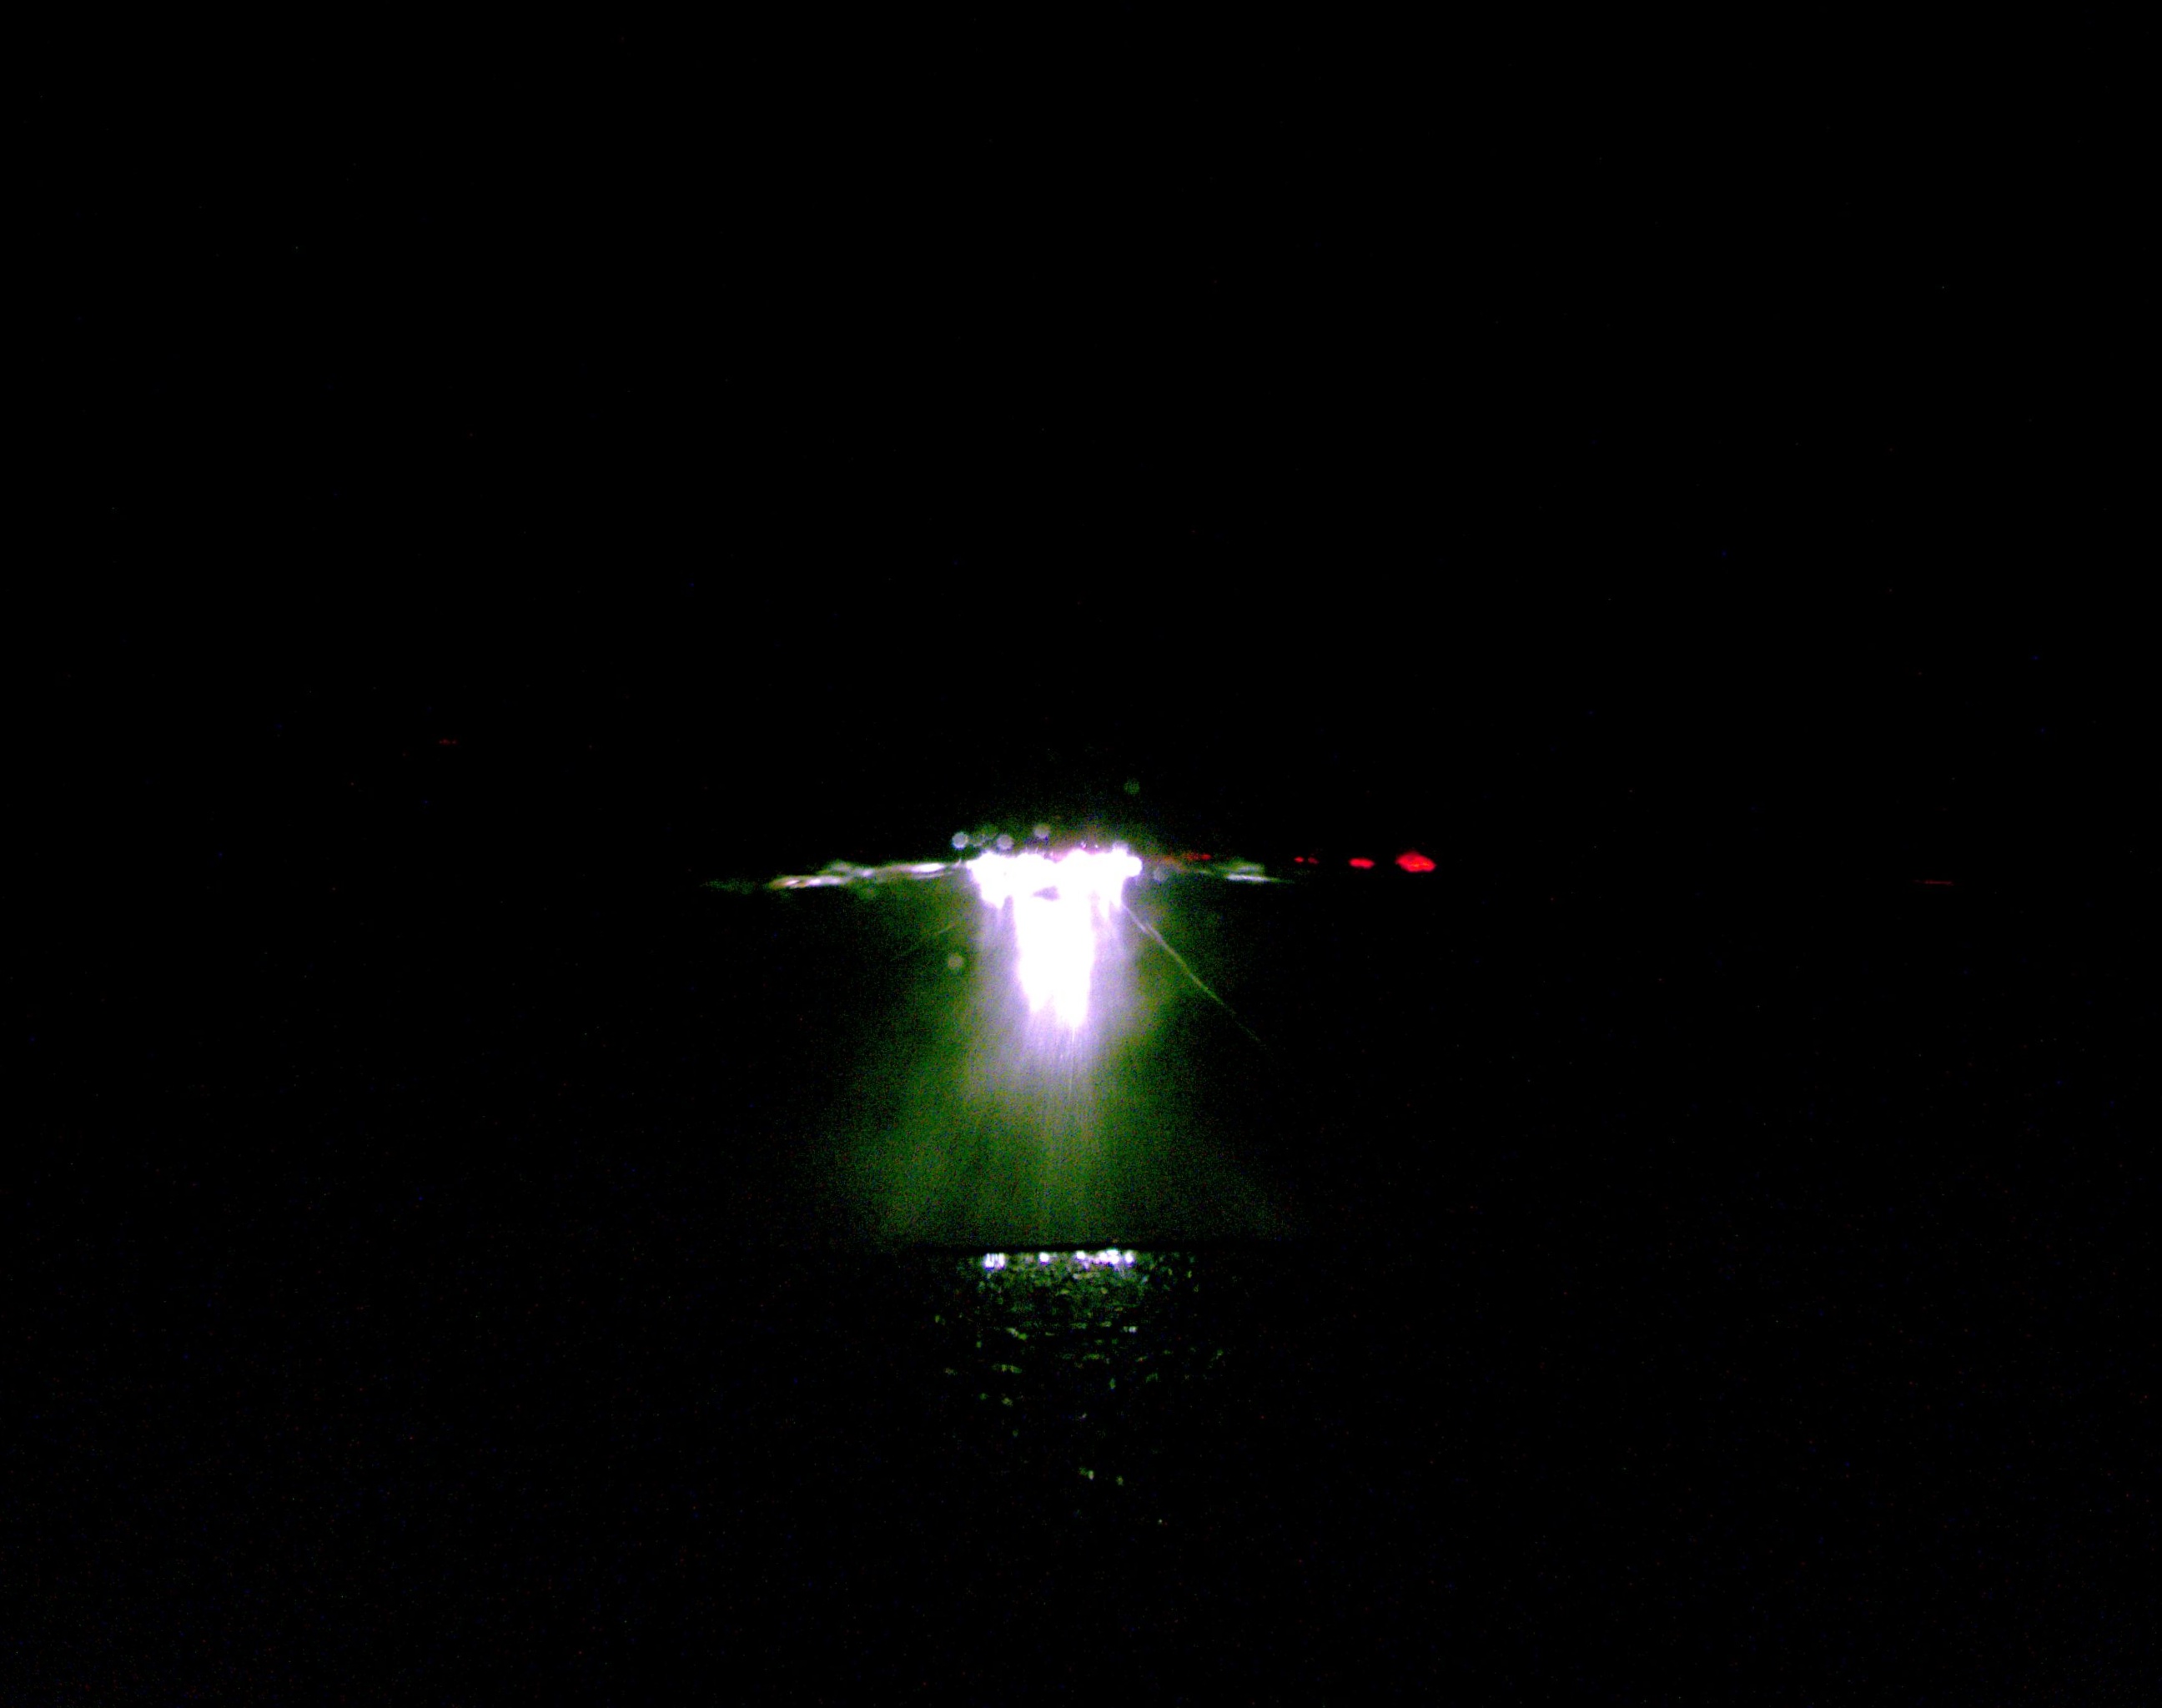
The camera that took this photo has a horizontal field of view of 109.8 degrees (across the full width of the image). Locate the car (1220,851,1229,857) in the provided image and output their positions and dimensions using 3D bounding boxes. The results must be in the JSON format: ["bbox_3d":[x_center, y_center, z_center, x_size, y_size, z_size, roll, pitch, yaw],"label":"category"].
[{"bbox_3d":[40.234,0.067,213.500,1.817,1.680,3.999,-2,1,1],"label":"car"}]

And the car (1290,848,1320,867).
[{"bbox_3d":[23.705,0.367,80.597,1.912,1.895,4.143,-2,1,1],"label":"car"}]

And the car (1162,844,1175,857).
[{"bbox_3d":[23.674,-0.933,205.459,2.714,3.187,6.321,-2,1,1],"label":"car"}]

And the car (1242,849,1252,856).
[{"bbox_3d":[45.931,-0.519,210.453,1.895,1.778,4.174,-2,1,1],"label":"car"}]

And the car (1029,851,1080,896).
[{"bbox_3d":[-1.045,0.753,32.081,1.960,1.655,4.915,-2,0,0],"label":"car"}]

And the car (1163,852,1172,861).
[{"bbox_3d":[19.386,0.532,170.261,1.745,1.765,4.000,-2,1,1],"label":"car"}]

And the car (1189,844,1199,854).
[{"bbox_3d":[31.389,-1.441,211.865,2.160,2.877,4.718,-2,1,1],"label":"car"}]

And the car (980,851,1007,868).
[{"bbox_3d":[-8.713,0.531,75.921,1.998,1.590,4.652,-2,1,2],"label":"car"}]

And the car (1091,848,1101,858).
[{"bbox_3d":[2.767,-0.143,144.260,1.800,1.728,3.999,-2,1,0],"label":"car"}]

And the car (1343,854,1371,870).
[{"bbox_3d":[31.635,0.862,87.210,1.874,1.701,3.813,-2,1,1],"label":"car"}]

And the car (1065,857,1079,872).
[{"bbox_3d":[-1.093,1.266,94.882,1.615,1.697,3.597,-2,1,1],"label":"car"}]

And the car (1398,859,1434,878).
[{"bbox_3d":[30.691,1.305,69.767,1.688,1.494,3.766,-2,1,1],"label":"car"}]

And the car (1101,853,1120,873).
[{"bbox_3d":[2.762,0.821,72.180,1.611,1.775,3.910,-2,1,0],"label":"car"}]

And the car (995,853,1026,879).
[{"bbox_3d":[-5.039,0.830,54.385,1.792,1.681,3.999,-2,1,0],"label":"car"}]

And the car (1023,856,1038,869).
[{"bbox_3d":[-7.521,1.236,113.085,1.999,1.852,3.999,-2,1,0],"label":"car"}]

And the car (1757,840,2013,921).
[{"bbox_3d":[19.864,0.555,19.117,1.724,1.744,4.396,-2,1,-1],"label":"car"}]

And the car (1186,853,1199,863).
[{"bbox_3d":[19.080,0.666,130.397,1.722,1.537,3.523,-2,1,1],"label":"car"}]

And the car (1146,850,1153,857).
[{"bbox_3d":[22.711,-0.114,251.452,2.213,2.002,4.000,-2,1,1],"label":"car"}]
